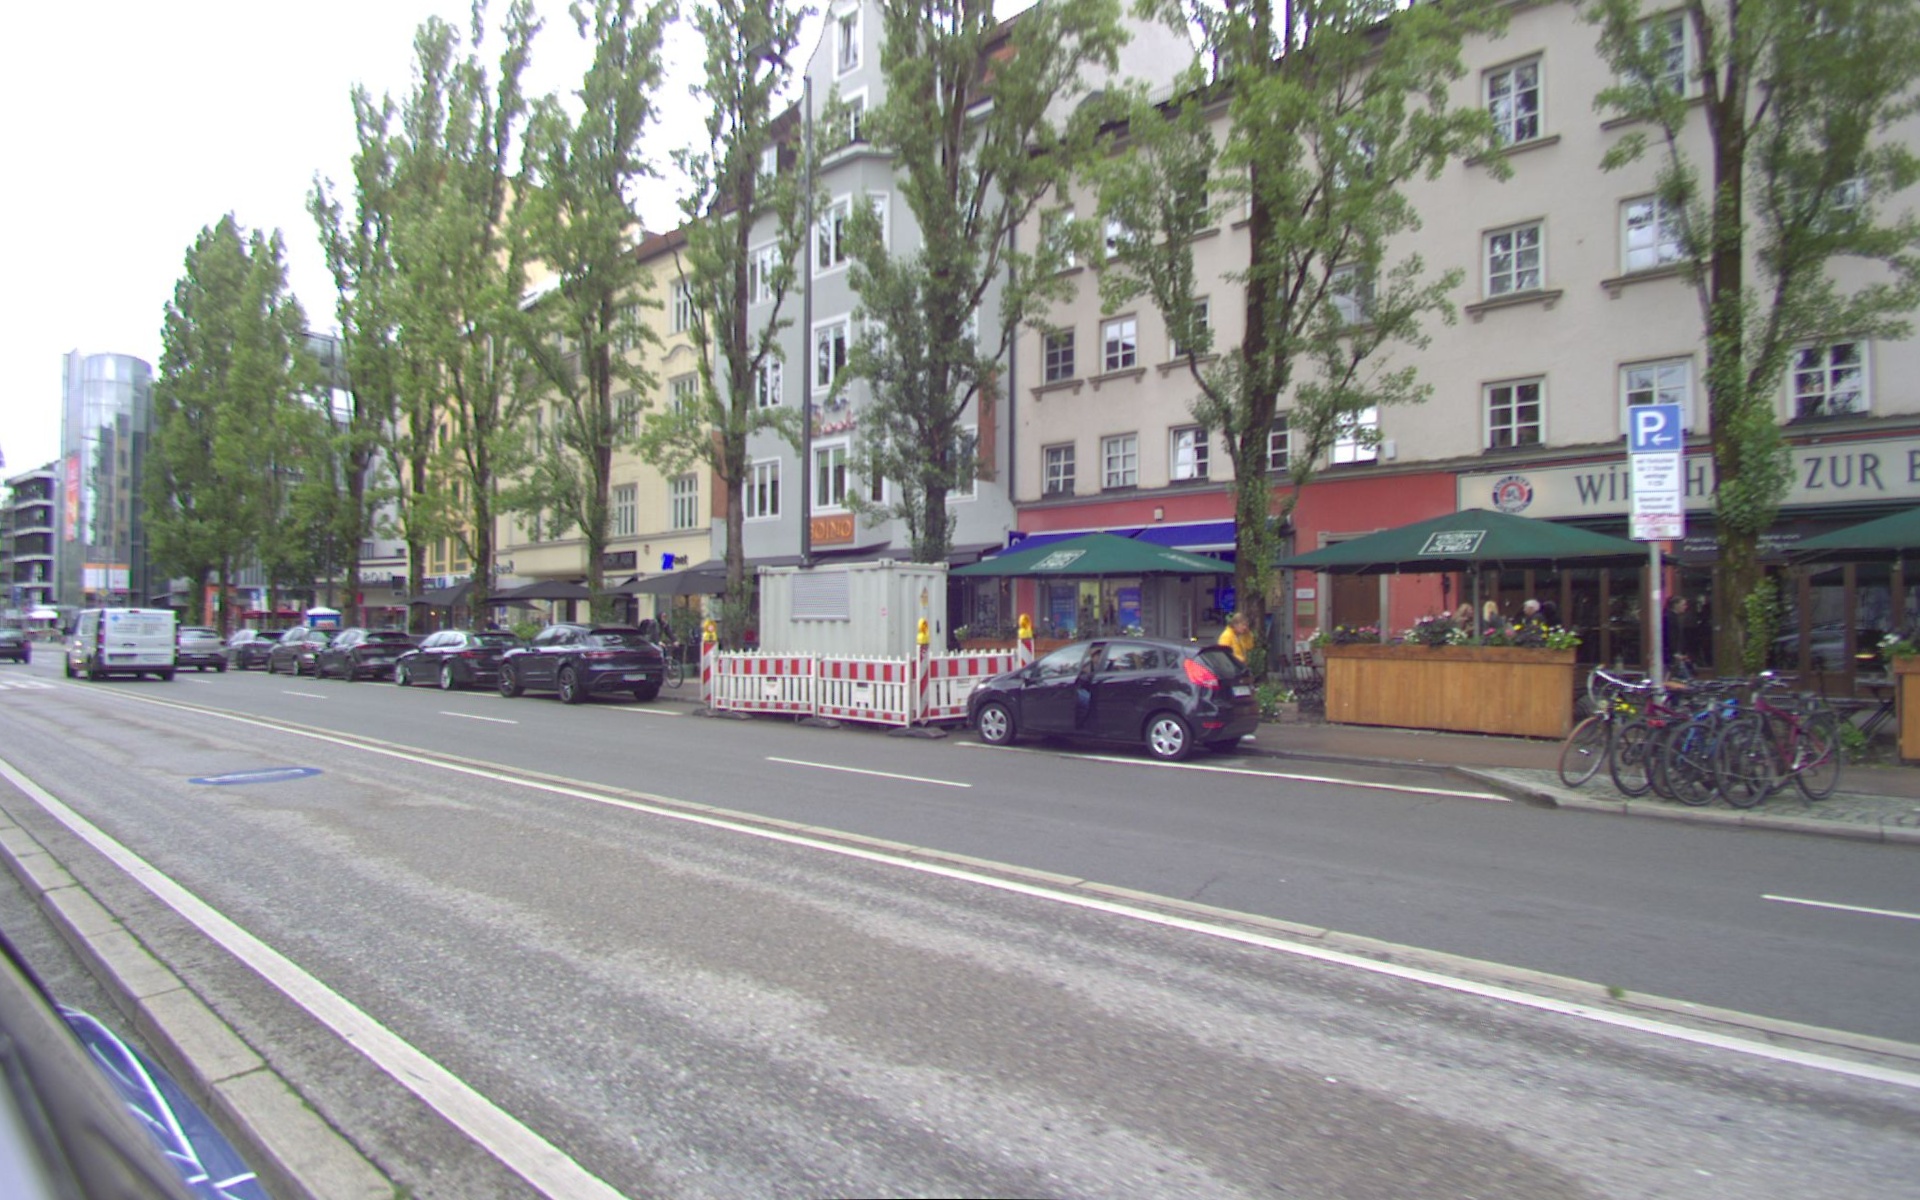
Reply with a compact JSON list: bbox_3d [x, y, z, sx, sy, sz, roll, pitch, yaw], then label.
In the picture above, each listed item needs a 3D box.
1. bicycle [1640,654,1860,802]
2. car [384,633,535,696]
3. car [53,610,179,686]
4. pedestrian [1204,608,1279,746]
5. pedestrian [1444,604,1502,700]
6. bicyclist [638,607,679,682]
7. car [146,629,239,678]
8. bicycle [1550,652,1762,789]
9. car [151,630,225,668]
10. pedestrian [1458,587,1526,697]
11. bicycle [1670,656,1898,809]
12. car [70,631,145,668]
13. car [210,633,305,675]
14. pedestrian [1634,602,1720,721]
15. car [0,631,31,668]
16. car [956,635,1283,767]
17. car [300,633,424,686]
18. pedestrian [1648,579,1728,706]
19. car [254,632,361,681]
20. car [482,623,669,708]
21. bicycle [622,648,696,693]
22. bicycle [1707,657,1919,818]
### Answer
[{"bbox_3d":[6.713,1.059,8.588,1.949,1.134,0.283,-1,0,-12],"label":"bicycle"},{"bbox_3d":[-12.658,1.561,25.459,4.572,1.451,1.778,-2,-3,41],"label":"car"},{"bbox_3d":[-23.914,1.328,28.612,5.068,1.947,1.873,-2,-3,40],"label":"car"},{"bbox_3d":[3.698,0.981,13.286,0.731,1.739,0.691,-2,-2,38],"label":"pedestrian"},{"bbox_3d":[9.028,0.901,17.806,0.732,1.636,0.690,-2,-3,43],"label":"pedestrian"},{"bbox_3d":[-7.064,1.023,23.719,0.816,1.718,0.598,-1,-2,42],"label":"bicyclist"},{"bbox_3d":[-26.093,1.787,34.361,4.074,1.553,1.696,-2,-3,41],"label":"car"},{"bbox_3d":[6.382,1.075,9.269,1.949,1.134,0.343,-1,0,-12],"label":"bicycle"},{"bbox_3d":[-33.633,2.107,44.061,4.102,1.590,1.778,-2,-3,41],"label":"car"},{"bbox_3d":[9.656,0.750,18.368,0.905,1.941,0.690,-2,-3,44],"label":"pedestrian"},{"bbox_3d":[6.774,1.059,8.310,1.949,1.134,0.283,-1,0,-12],"label":"bicycle"},{"bbox_3d":[-36.699,2.086,43.517,4.360,1.530,1.728,-2,-3,40],"label":"car"},{"bbox_3d":[-25.733,1.940,37.017,4.572,1.451,1.778,-2,-3,41],"label":"car"},{"bbox_3d":[10.907,0.917,15.407,0.950,1.735,0.690,-2,-3,44],"label":"pedestrian"},{"bbox_3d":[-39.529,2.011,41.546,3.593,1.451,1.596,-2,-3,40],"label":"car"},{"bbox_3d":[1.965,1.174,12.931,3.779,1.433,1.739,-1,-3,38],"label":"car"},{"bbox_3d":[-17.575,1.688,29.663,4.572,1.451,1.778,-2,-3,41],"label":"car"},{"bbox_3d":[11.554,0.663,16.069,0.905,1.941,0.690,-2,-3,44],"label":"pedestrian"},{"bbox_3d":[-21.569,1.816,33.381,4.572,1.515,1.778,-2,-3,41],"label":"car"},{"bbox_3d":[-8.247,1.332,21.525,4.572,1.625,1.778,-2,-3,41],"label":"car"},{"bbox_3d":[-7.067,1.636,23.712,2.173,0.976,0.605,-2,-2,41],"label":"bicycle"},{"bbox_3d":[6.870,1.052,7.982,1.949,1.134,0.362,-1,0,-12],"label":"bicycle"}]
